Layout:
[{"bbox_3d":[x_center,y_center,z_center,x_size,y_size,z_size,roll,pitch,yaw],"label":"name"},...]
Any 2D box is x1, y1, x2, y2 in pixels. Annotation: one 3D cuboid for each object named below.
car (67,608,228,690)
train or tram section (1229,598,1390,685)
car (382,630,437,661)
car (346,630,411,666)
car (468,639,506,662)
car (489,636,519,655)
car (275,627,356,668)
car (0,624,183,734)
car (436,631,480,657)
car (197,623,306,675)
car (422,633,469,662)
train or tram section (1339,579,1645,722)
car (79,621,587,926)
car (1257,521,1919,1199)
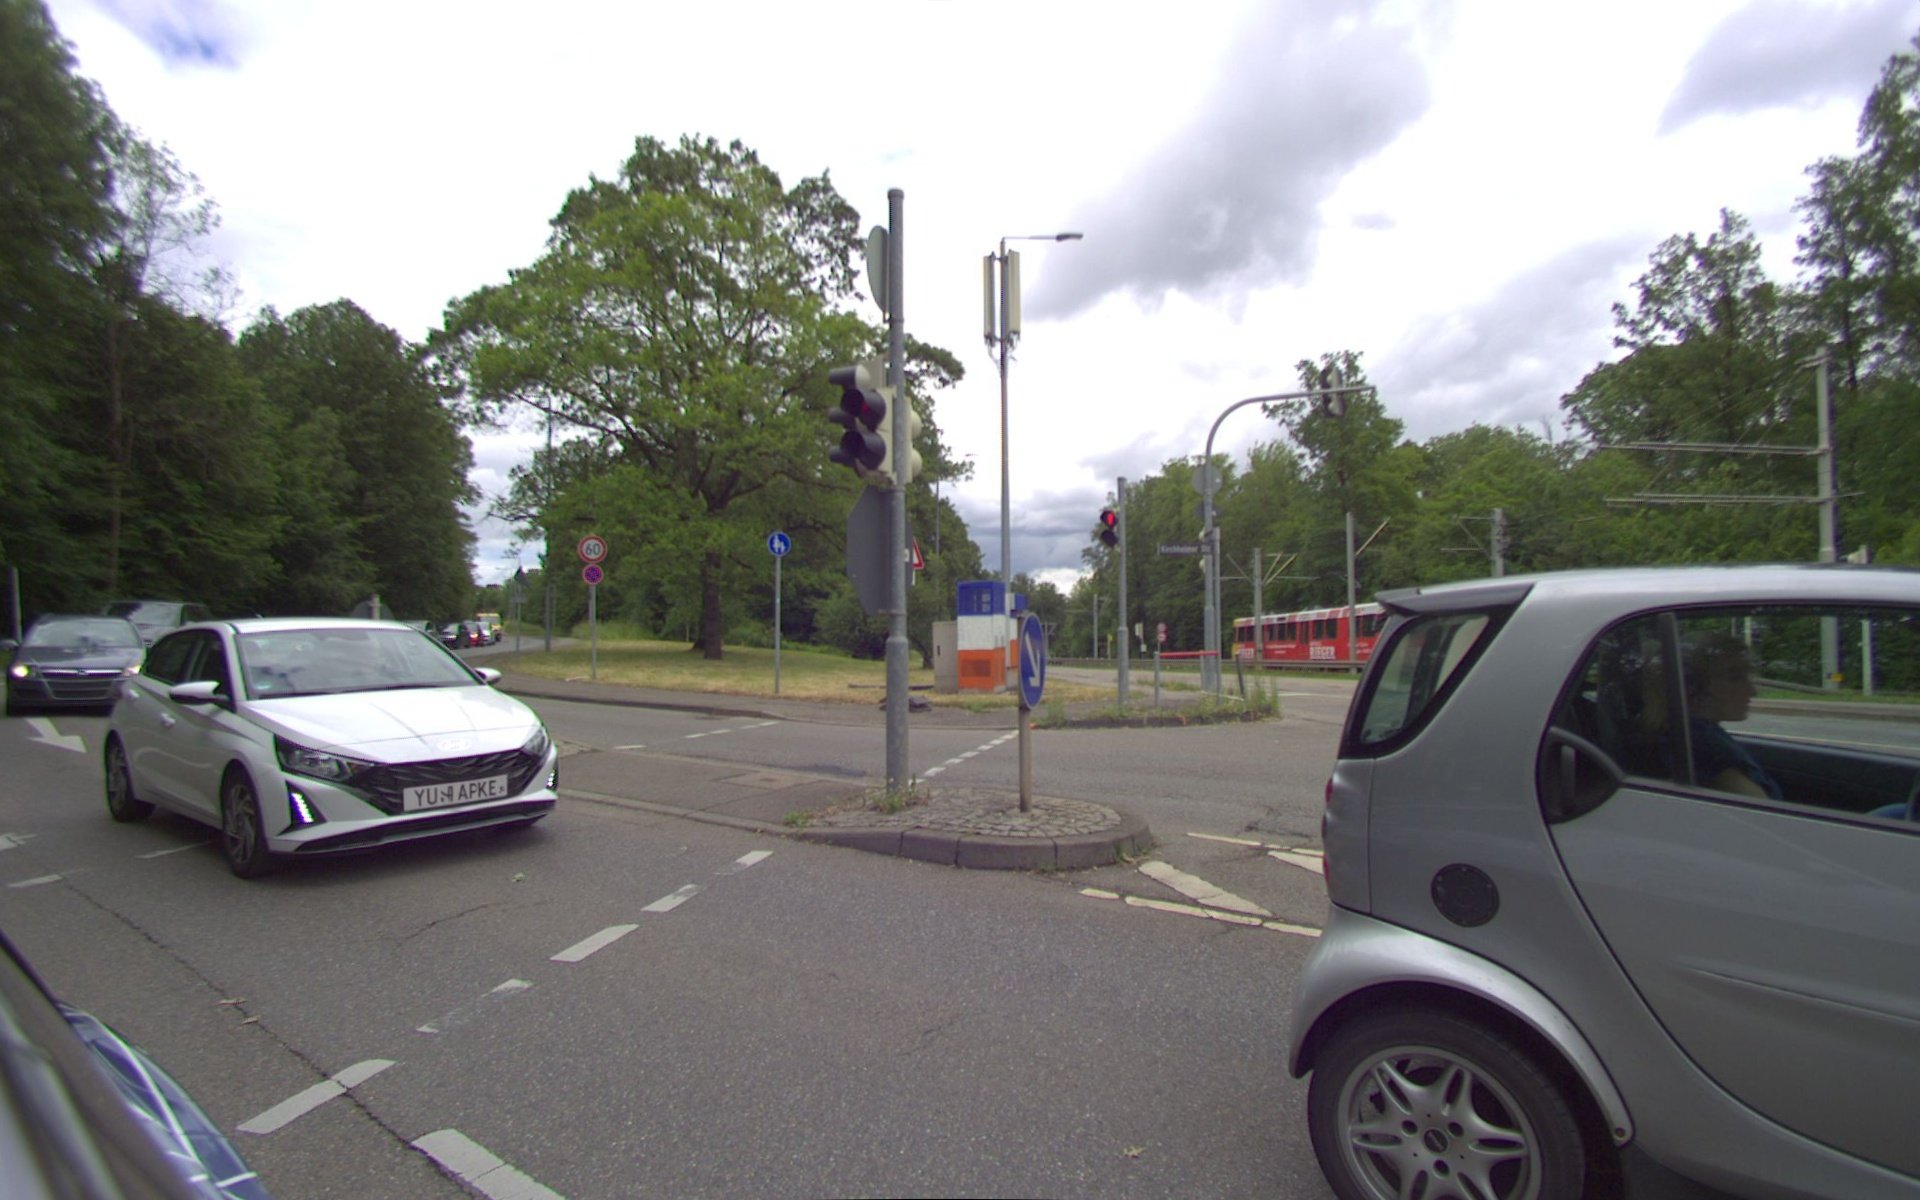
[{"bbox_3d":[-20.426,1.238,25.700,1.957,1.887,4.546,2,-3,-23],"label":"car"},{"bbox_3d":[20.569,2.302,61.645,2.923,4.452,18.732,1,-1,-1],"label":"train or tram section"},{"bbox_3d":[-27.840,2.306,51.290,1.749,1.511,3.885,2,-3,-19],"label":"car"},{"bbox_3d":[-25.896,2.121,45.189,1.749,1.511,3.885,2,-3,-19],"label":"car"},{"bbox_3d":[-32.735,3.481,70.167,1.749,1.511,3.884,2,-3,-16],"label":"car"},{"bbox_3d":[-38.245,3.783,84.949,1.749,1.511,3.884,2,-3,-16],"label":"car"},{"bbox_3d":[-25.279,1.856,39.823,1.749,1.511,3.885,2,-3,-19],"label":"car"},{"bbox_3d":[-13.695,1.164,16.040,1.774,1.490,4.482,3,-3,-33],"label":"car"},{"bbox_3d":[-30.922,2.698,62.443,1.749,1.511,3.884,2,-3,-16],"label":"car"},{"bbox_3d":[-24.102,1.652,34.572,1.764,1.687,4.002,1,-2,-15],"label":"car"},{"bbox_3d":[-28.879,2.657,56.899,1.749,1.511,3.885,2,-3,-19],"label":"car"},{"bbox_3d":[21.211,1.839,42.991,2.914,4.686,18.547,1,-1,-1],"label":"train or tram section"},{"bbox_3d":[-4.424,0.917,6.902,4.068,1.490,1.634,-1,-3,39],"label":"car"},{"bbox_3d":[2.222,0.692,2.240,2.720,1.598,1.445,-1,-3,33],"label":"car"}]
